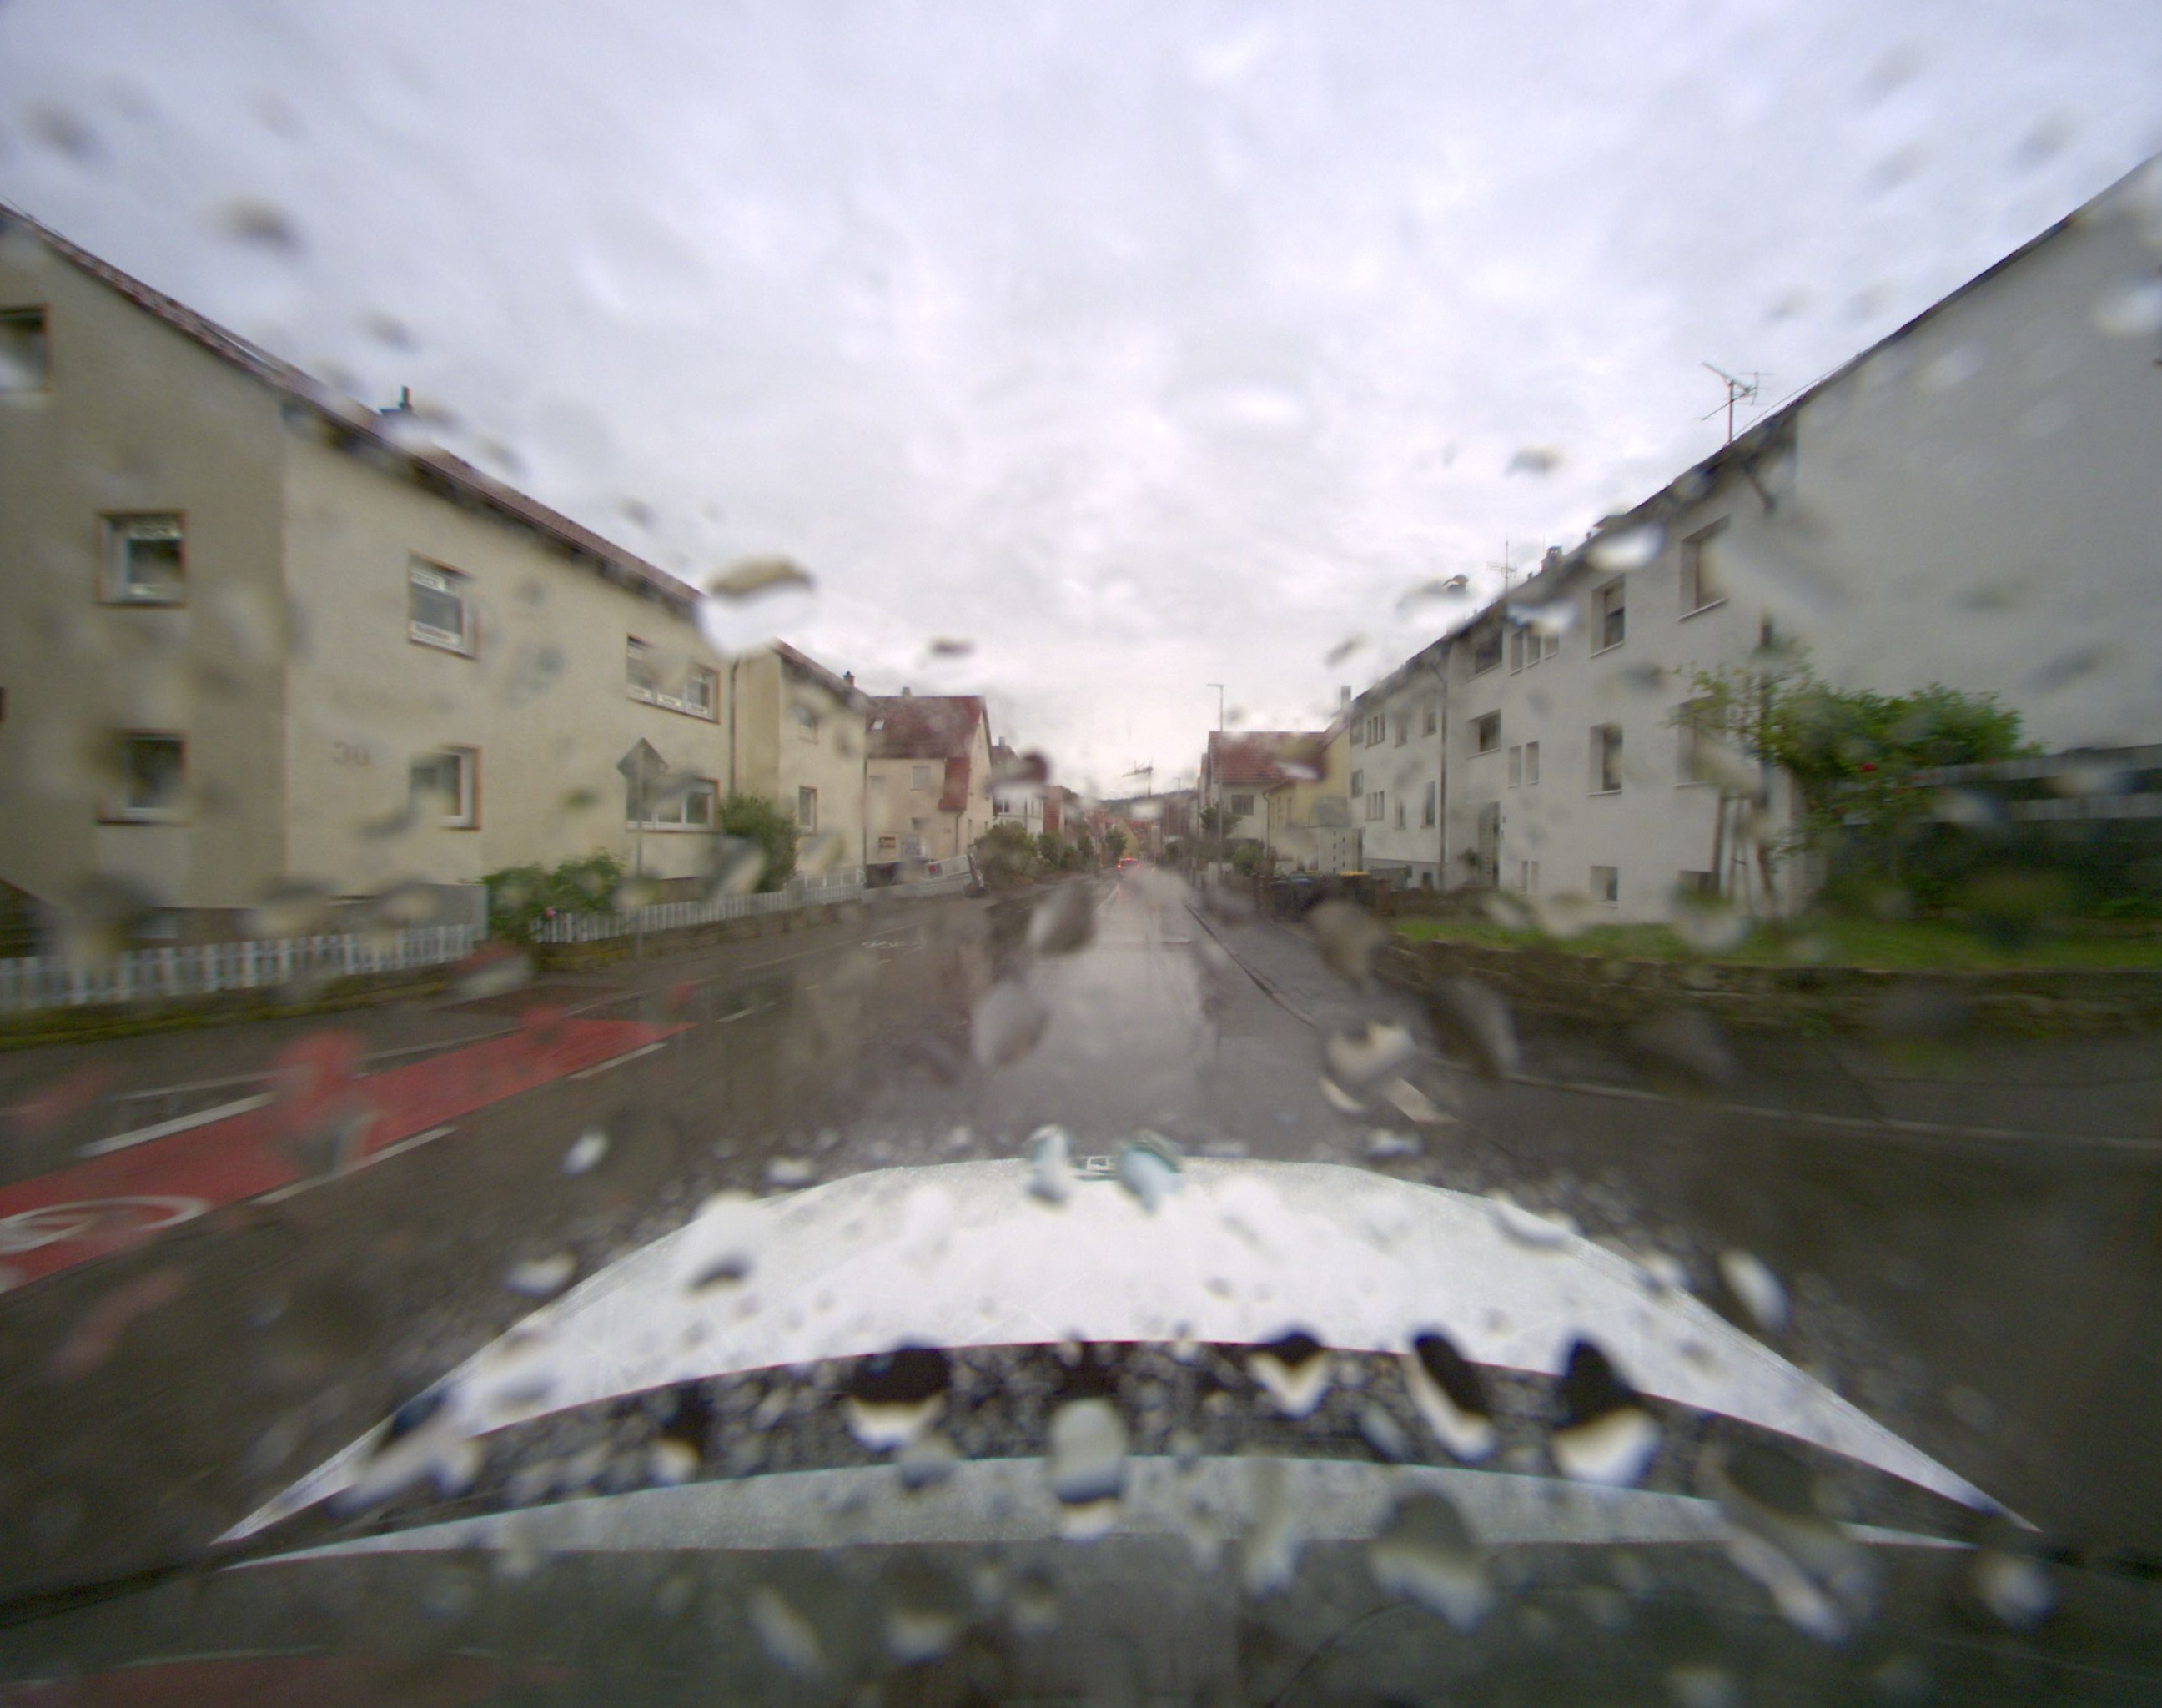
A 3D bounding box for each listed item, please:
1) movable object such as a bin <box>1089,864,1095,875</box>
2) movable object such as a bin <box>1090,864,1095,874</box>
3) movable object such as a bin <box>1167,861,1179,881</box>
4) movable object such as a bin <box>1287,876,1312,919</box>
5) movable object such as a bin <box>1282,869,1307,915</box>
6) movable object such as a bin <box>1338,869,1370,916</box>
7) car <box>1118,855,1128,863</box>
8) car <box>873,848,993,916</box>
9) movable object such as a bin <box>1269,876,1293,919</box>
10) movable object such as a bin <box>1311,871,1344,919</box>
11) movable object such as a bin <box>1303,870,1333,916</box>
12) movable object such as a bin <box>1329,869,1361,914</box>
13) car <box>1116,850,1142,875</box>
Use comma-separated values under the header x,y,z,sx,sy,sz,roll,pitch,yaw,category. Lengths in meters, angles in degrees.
x,y,z,sx,sy,sz,roll,pitch,yaw,category
1.442,2.020,103.679,0.680,1.322,0.639,2,2,-1,movable object such as a bin
1.480,1.901,104.463,0.680,1.223,0.639,2,2,-1,movable object such as a bin
6.172,1.126,54.582,0.742,1.279,0.883,0,2,4,movable object such as a bin
5.064,1.012,18.880,0.423,0.940,0.508,2,2,2,movable object such as a bin
5.114,0.904,19.552,0.423,1.028,0.632,2,2,2,movable object such as a bin
6.310,0.886,18.856,0.526,1.028,0.632,2,2,2,movable object such as a bin
9.237,1.063,179.136,1.831,1.578,4.301,2,2,9,car
-6.512,1.214,36.169,4.536,2.012,2.162,-11,1,3,car
4.639,1.004,18.917,0.423,0.940,0.508,2,2,2,movable object such as a bin
5.703,0.944,18.863,0.542,1.028,0.632,2,2,2,movable object such as a bin
5.682,0.923,19.552,0.542,1.028,0.632,2,2,2,movable object such as a bin
6.330,0.891,19.535,0.542,1.028,0.632,2,2,2,movable object such as a bin
4.169,0.664,70.065,2.107,1.887,4.509,2,2,5,car
